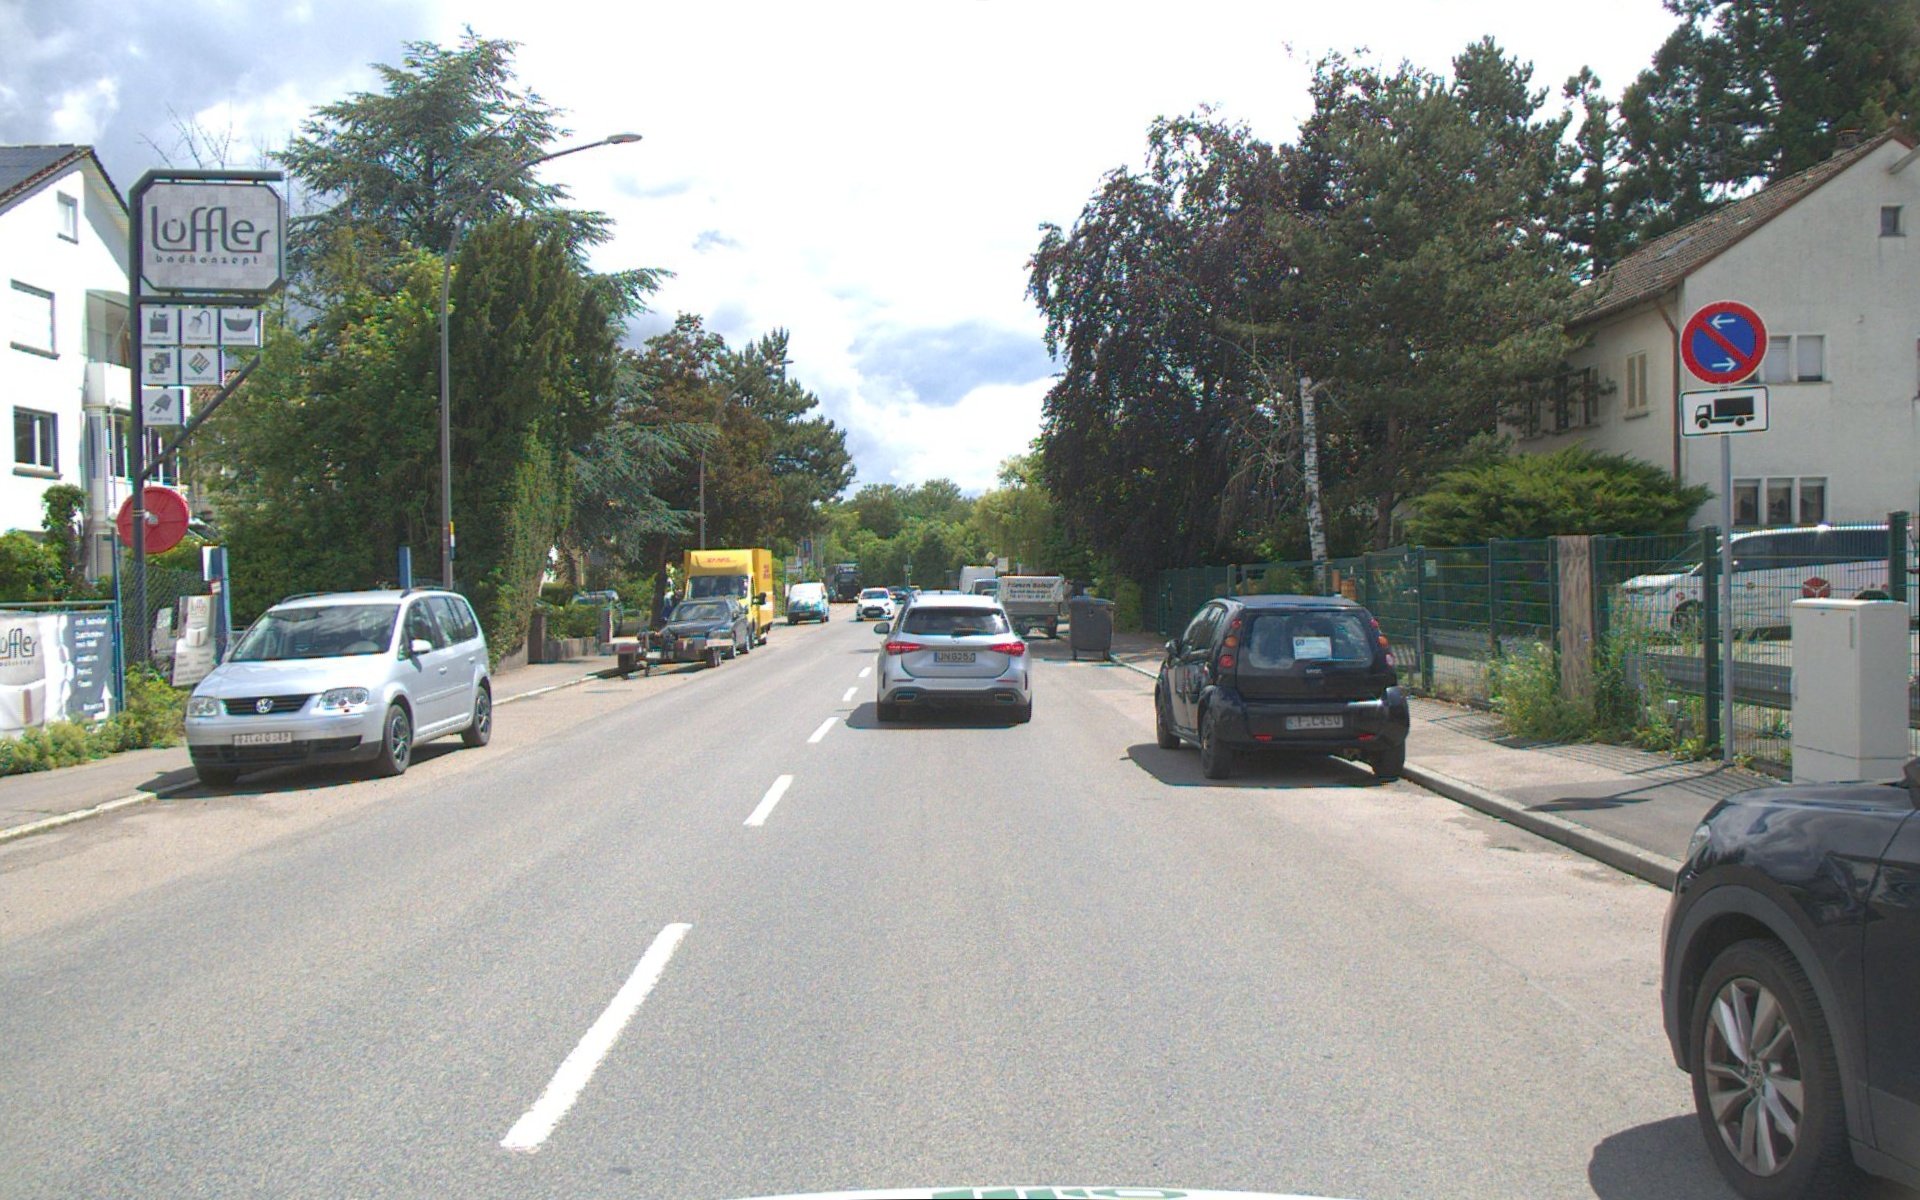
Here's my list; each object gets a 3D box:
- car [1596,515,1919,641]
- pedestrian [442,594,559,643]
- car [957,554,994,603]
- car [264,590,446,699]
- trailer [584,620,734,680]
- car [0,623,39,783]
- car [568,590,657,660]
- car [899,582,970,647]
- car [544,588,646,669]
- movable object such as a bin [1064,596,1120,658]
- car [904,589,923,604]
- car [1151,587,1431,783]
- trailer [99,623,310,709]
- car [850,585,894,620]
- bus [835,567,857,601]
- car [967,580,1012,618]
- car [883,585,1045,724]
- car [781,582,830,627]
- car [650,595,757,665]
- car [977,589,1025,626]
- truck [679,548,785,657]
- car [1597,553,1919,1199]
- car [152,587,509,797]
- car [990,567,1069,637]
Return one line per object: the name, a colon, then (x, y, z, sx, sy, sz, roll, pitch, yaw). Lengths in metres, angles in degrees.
car: (14.296, -0.392, 29.703, 4.913, 1.962, 2.001, -3, 0, 2)
pedestrian: (-17.311, 0.683, 62.457, 3.909, 1.735, 1.998, 1, 0, -6)
car: (0.822, -1.100, 88.844, 1.749, 2.562, 4.314, 0, 0, -3)
car: (-10.440, 0.710, 28.869, 1.955, 1.686, 3.996, -2, 1, -5)
trailer: (-5.956, 0.958, 33.474, 2.183, 0.941, 5.945, -1, 1, -2)
car: (-11.210, 1.016, 15.342, 4.193, 1.511, 1.990, -1, -3, -3)
car: (-10.829, 0.744, 51.811, 1.953, 2.049, 3.999, 1, 1, -1)
car: (-0.698, 0.330, 43.029, 1.720, 1.585, 3.998, -1, 1, -2)
car: (-9.933, 0.731, 45.253, 1.953, 2.049, 3.999, 1, 1, -1)
movable object such as a bin: (2.831, 0.565, 35.685, 1.062, 1.293, 1.380, 1, 0, -1)
car: (-4.948, -0.393, 176.649, 1.722, 1.585, 3.996, -1, 1, -5)
car: (2.791, 0.645, 14.755, 1.655, 1.476, 3.848, -1, 0, -1)
trailer: (-12.974, 1.086, 28.727, 1.822, 1.202, 4.374, -2, 1, -3)
car: (-4.119, 0.086, 78.129, 1.895, 1.518, 4.362, -2, 1, -1)
bus: (-12.091, -1.702, 175.296, 1.955, 3.423, 6.973, 1, 1, -6)
car: (1.334, -0.036, 76.396, 1.749, 1.745, 4.314, 0, 0, -3)
car: (-0.053, 0.607, 20.177, 1.749, 1.510, 4.314, 0, 0, -3)
car: (-7.192, 0.182, 77.455, 1.895, 1.952, 4.362, -2, 1, -1)
car: (-6.175, 0.680, 40.258, 2.033, 1.503, 4.455, -2, 1, -2)
car: (1.753, 0.318, 71.246, 1.749, 1.510, 4.314, 0, 0, -3)
truck: (-6.527, 0.015, 48.157, 2.032, 2.863, 7.078, -2, 1, 0)
car: (2.904, 0.671, 2.966, 1.656, 1.579, 4.082, -1, 0, -5)
car: (-5.740, 0.735, 15.715, 1.755, 1.631, 4.362, -2, 1, -1)
car: (2.087, 0.043, 51.196, 2.101, 2.018, 5.260, -1, 0, -1)
